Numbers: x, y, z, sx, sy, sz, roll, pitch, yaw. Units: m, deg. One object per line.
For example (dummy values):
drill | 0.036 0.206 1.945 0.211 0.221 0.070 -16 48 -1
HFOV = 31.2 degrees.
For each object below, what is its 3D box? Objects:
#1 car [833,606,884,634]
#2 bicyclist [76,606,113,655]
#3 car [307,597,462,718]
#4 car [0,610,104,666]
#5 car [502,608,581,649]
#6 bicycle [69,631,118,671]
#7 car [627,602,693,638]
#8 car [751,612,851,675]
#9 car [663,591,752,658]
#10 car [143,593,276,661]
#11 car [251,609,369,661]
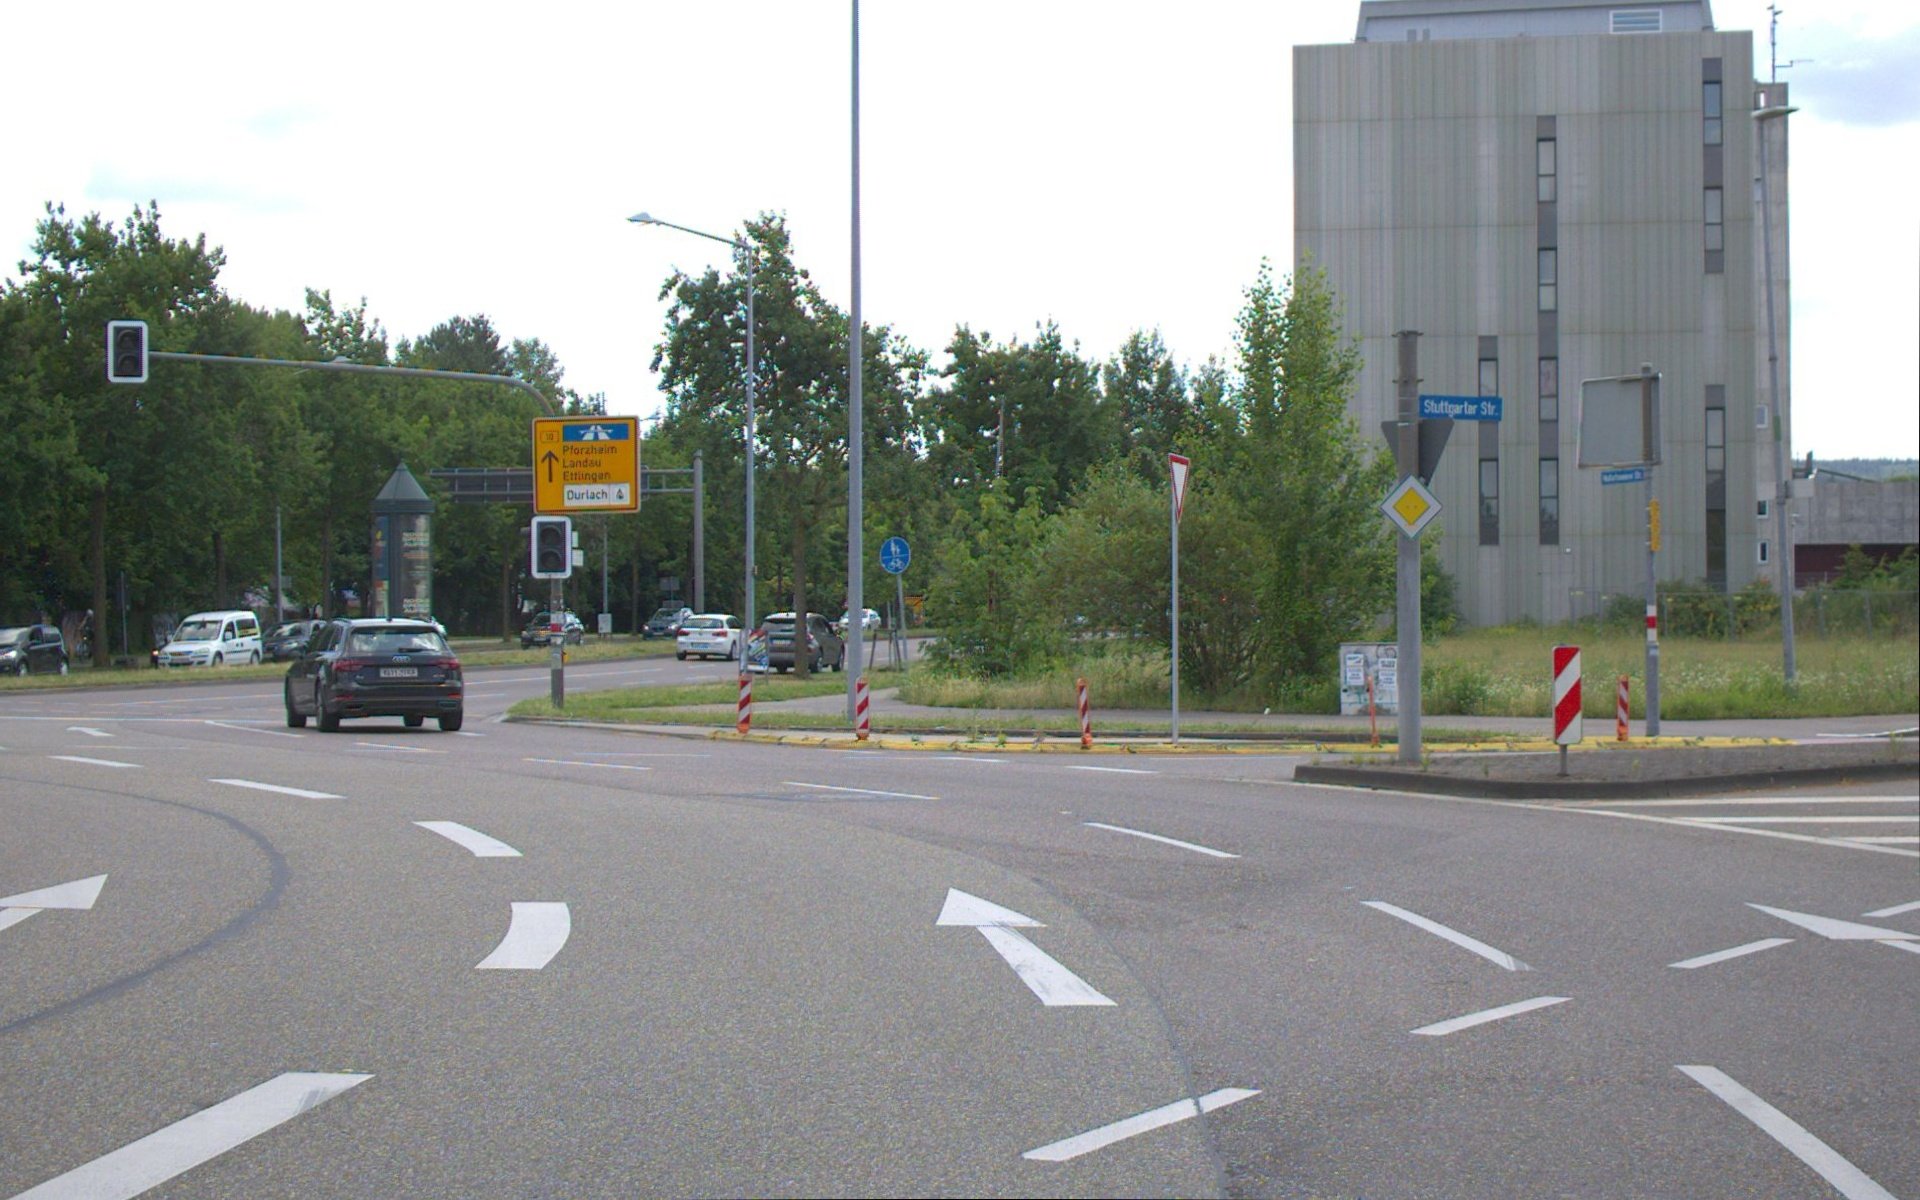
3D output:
car | -5.248 1.023 177.982 1.764 1.435 4.307 -1 0 10
bicyclist | -27.905 0.983 110.853 0.830 1.559 0.883 2 0 10
car | -7.406 0.705 44.015 1.683 1.458 4.001 1 0 -13
car | -22.824 0.931 83.820 1.839 1.306 4.785 -2 -1 13
car | -16.758 1.153 137.880 1.723 1.585 5.011 -1 -1 10
bicycle | -27.936 1.639 110.876 0.761 1.215 2.015 2 0 10
car | -13.637 0.907 156.519 1.764 1.572 5.029 -1 0 9
car | -4.310 1.163 93.730 1.994 1.620 4.308 0 0 7
car | -7.867 0.763 107.399 1.994 2.007 3.999 1 0 7
car | -20.924 0.743 96.038 1.838 1.793 4.785 -2 -1 11
car | -19.303 1.038 102.254 1.838 1.475 4.751 -2 -1 10
